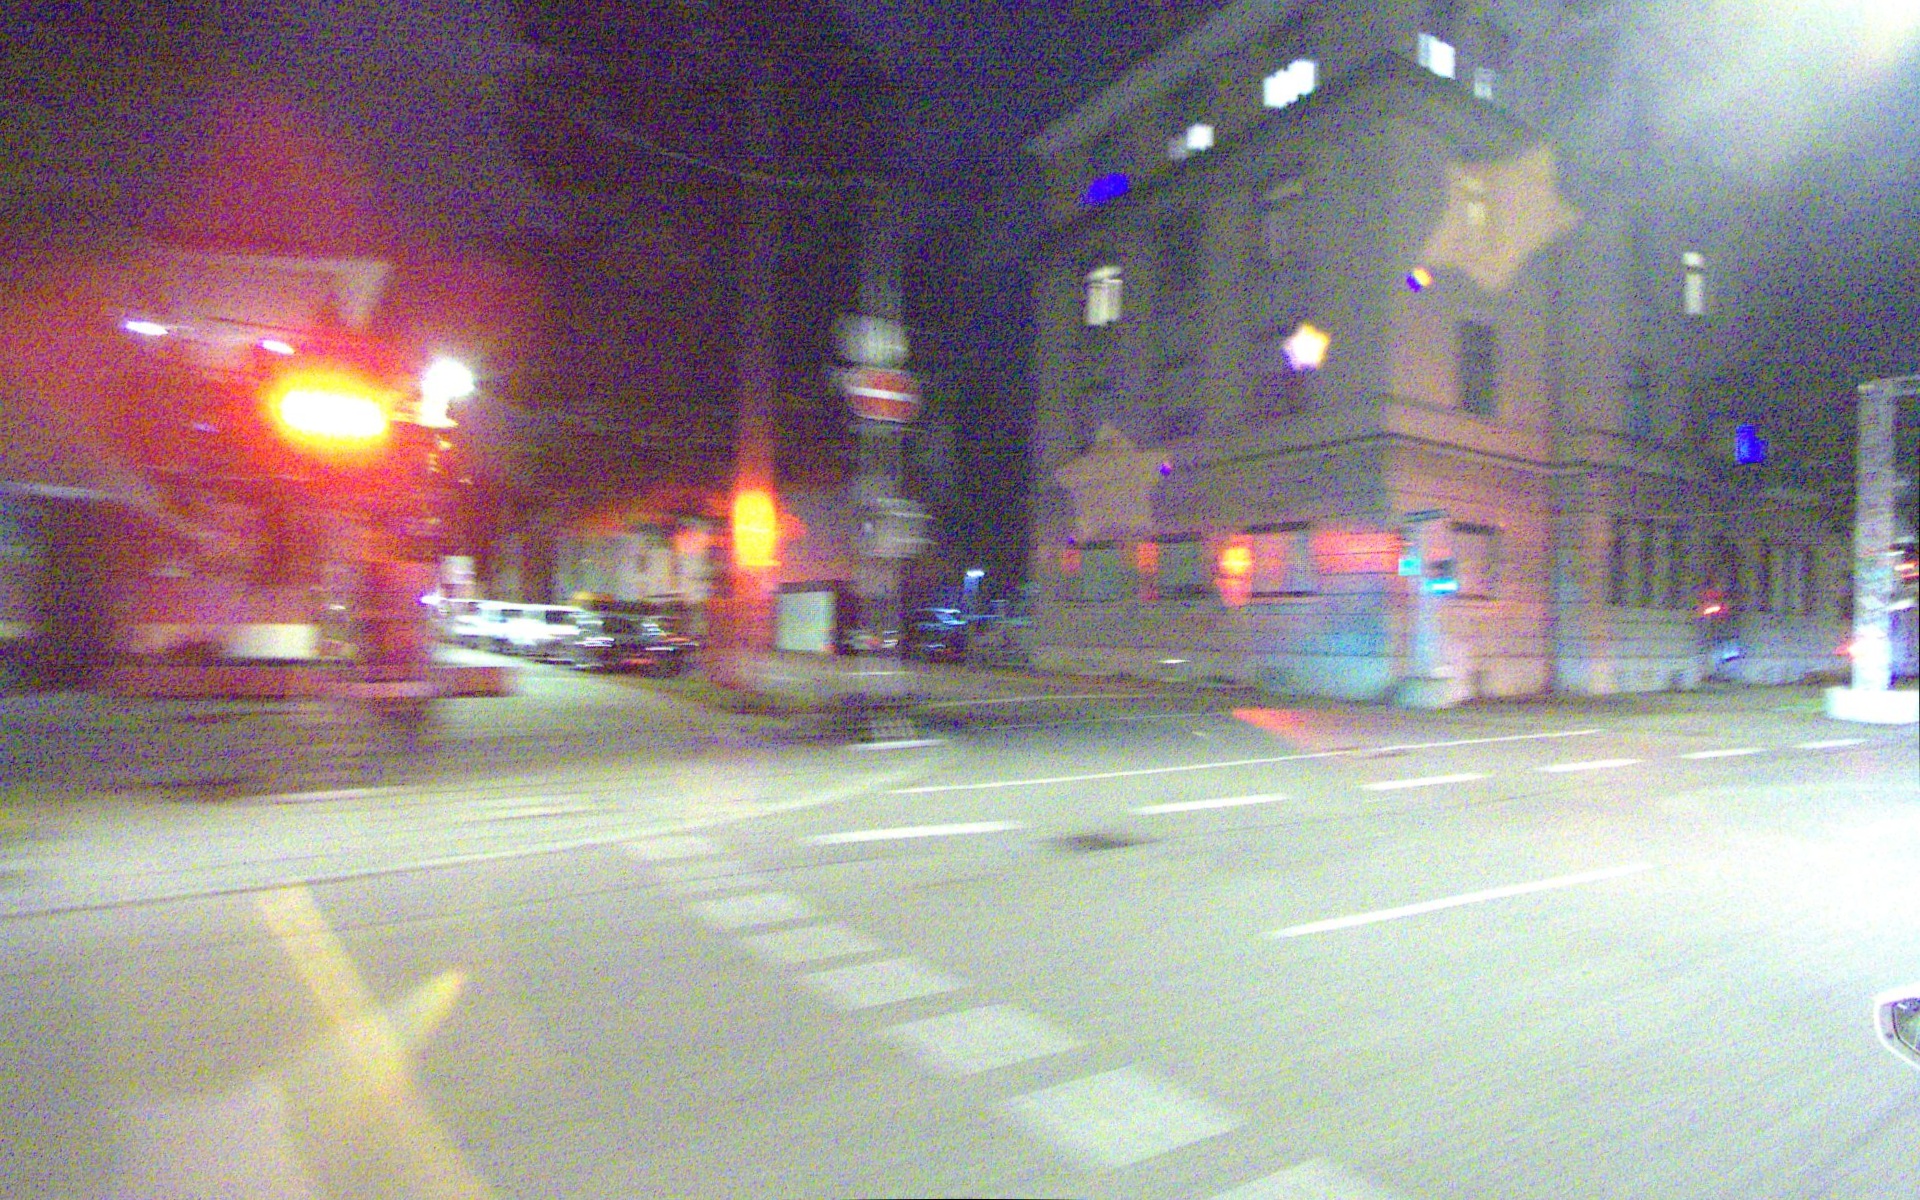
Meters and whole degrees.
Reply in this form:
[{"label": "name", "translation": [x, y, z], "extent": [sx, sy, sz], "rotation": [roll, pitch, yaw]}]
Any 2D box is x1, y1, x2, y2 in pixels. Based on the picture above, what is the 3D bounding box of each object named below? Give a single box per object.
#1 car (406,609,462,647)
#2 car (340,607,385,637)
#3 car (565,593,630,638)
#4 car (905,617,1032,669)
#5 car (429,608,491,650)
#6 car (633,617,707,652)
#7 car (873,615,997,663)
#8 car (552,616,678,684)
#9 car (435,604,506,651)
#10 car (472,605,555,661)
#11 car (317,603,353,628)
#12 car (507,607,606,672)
[{"label": "car", "translation": [-26.705, 1.412, 50.902], "extent": [1.876, 1.698, 4.347], "rotation": [7, -5, -34]}, {"label": "car", "translation": [-36.228, 1.343, 60.879], "extent": [1.876, 1.699, 4.345], "rotation": [4, -3, -36]}, {"label": "car", "translation": [-20.178, 0.918, 55.727], "extent": [2.147, 2.364, 5.673], "rotation": [1, -2, -34]}, {"label": "car", "translation": [0.307, 1.453, 34.473], "extent": [3.955, 1.661, 1.983], "rotation": [1, -2, -31]}, {"label": "car", "translation": [-23.265, 1.329, 46.650], "extent": [1.876, 1.698, 4.347], "rotation": [7, -5, -34]}, {"label": "car", "translation": [-13.544, 1.580, 46.707], "extent": [1.903, 1.534, 5.057], "rotation": [1, -2, -34]}, {"label": "car", "translation": [-0.899, 1.408, 36.791], "extent": [4.138, 1.661, 1.983], "rotation": [1, -2, -31]}, {"label": "car", "translation": [-8.571, 1.194, 24.741], "extent": [1.815, 1.410, 4.349], "rotation": [7, -5, -33]}, {"label": "car", "translation": [-20.189, 1.132, 41.363], "extent": [1.876, 1.698, 4.347], "rotation": [7, -5, -34]}, {"label": "car", "translation": [-15.863, 1.148, 35.560], "extent": [1.875, 1.730, 4.349], "rotation": [7, -5, -33]}, {"label": "car", "translation": [-44.924, 1.121, 72.152], "extent": [1.876, 1.699, 4.345], "rotation": [3, -2, -36]}, {"label": "car", "translation": [-12.217, 1.159, 30.237], "extent": [1.815, 1.698, 4.349], "rotation": [7, -5, -33]}]
